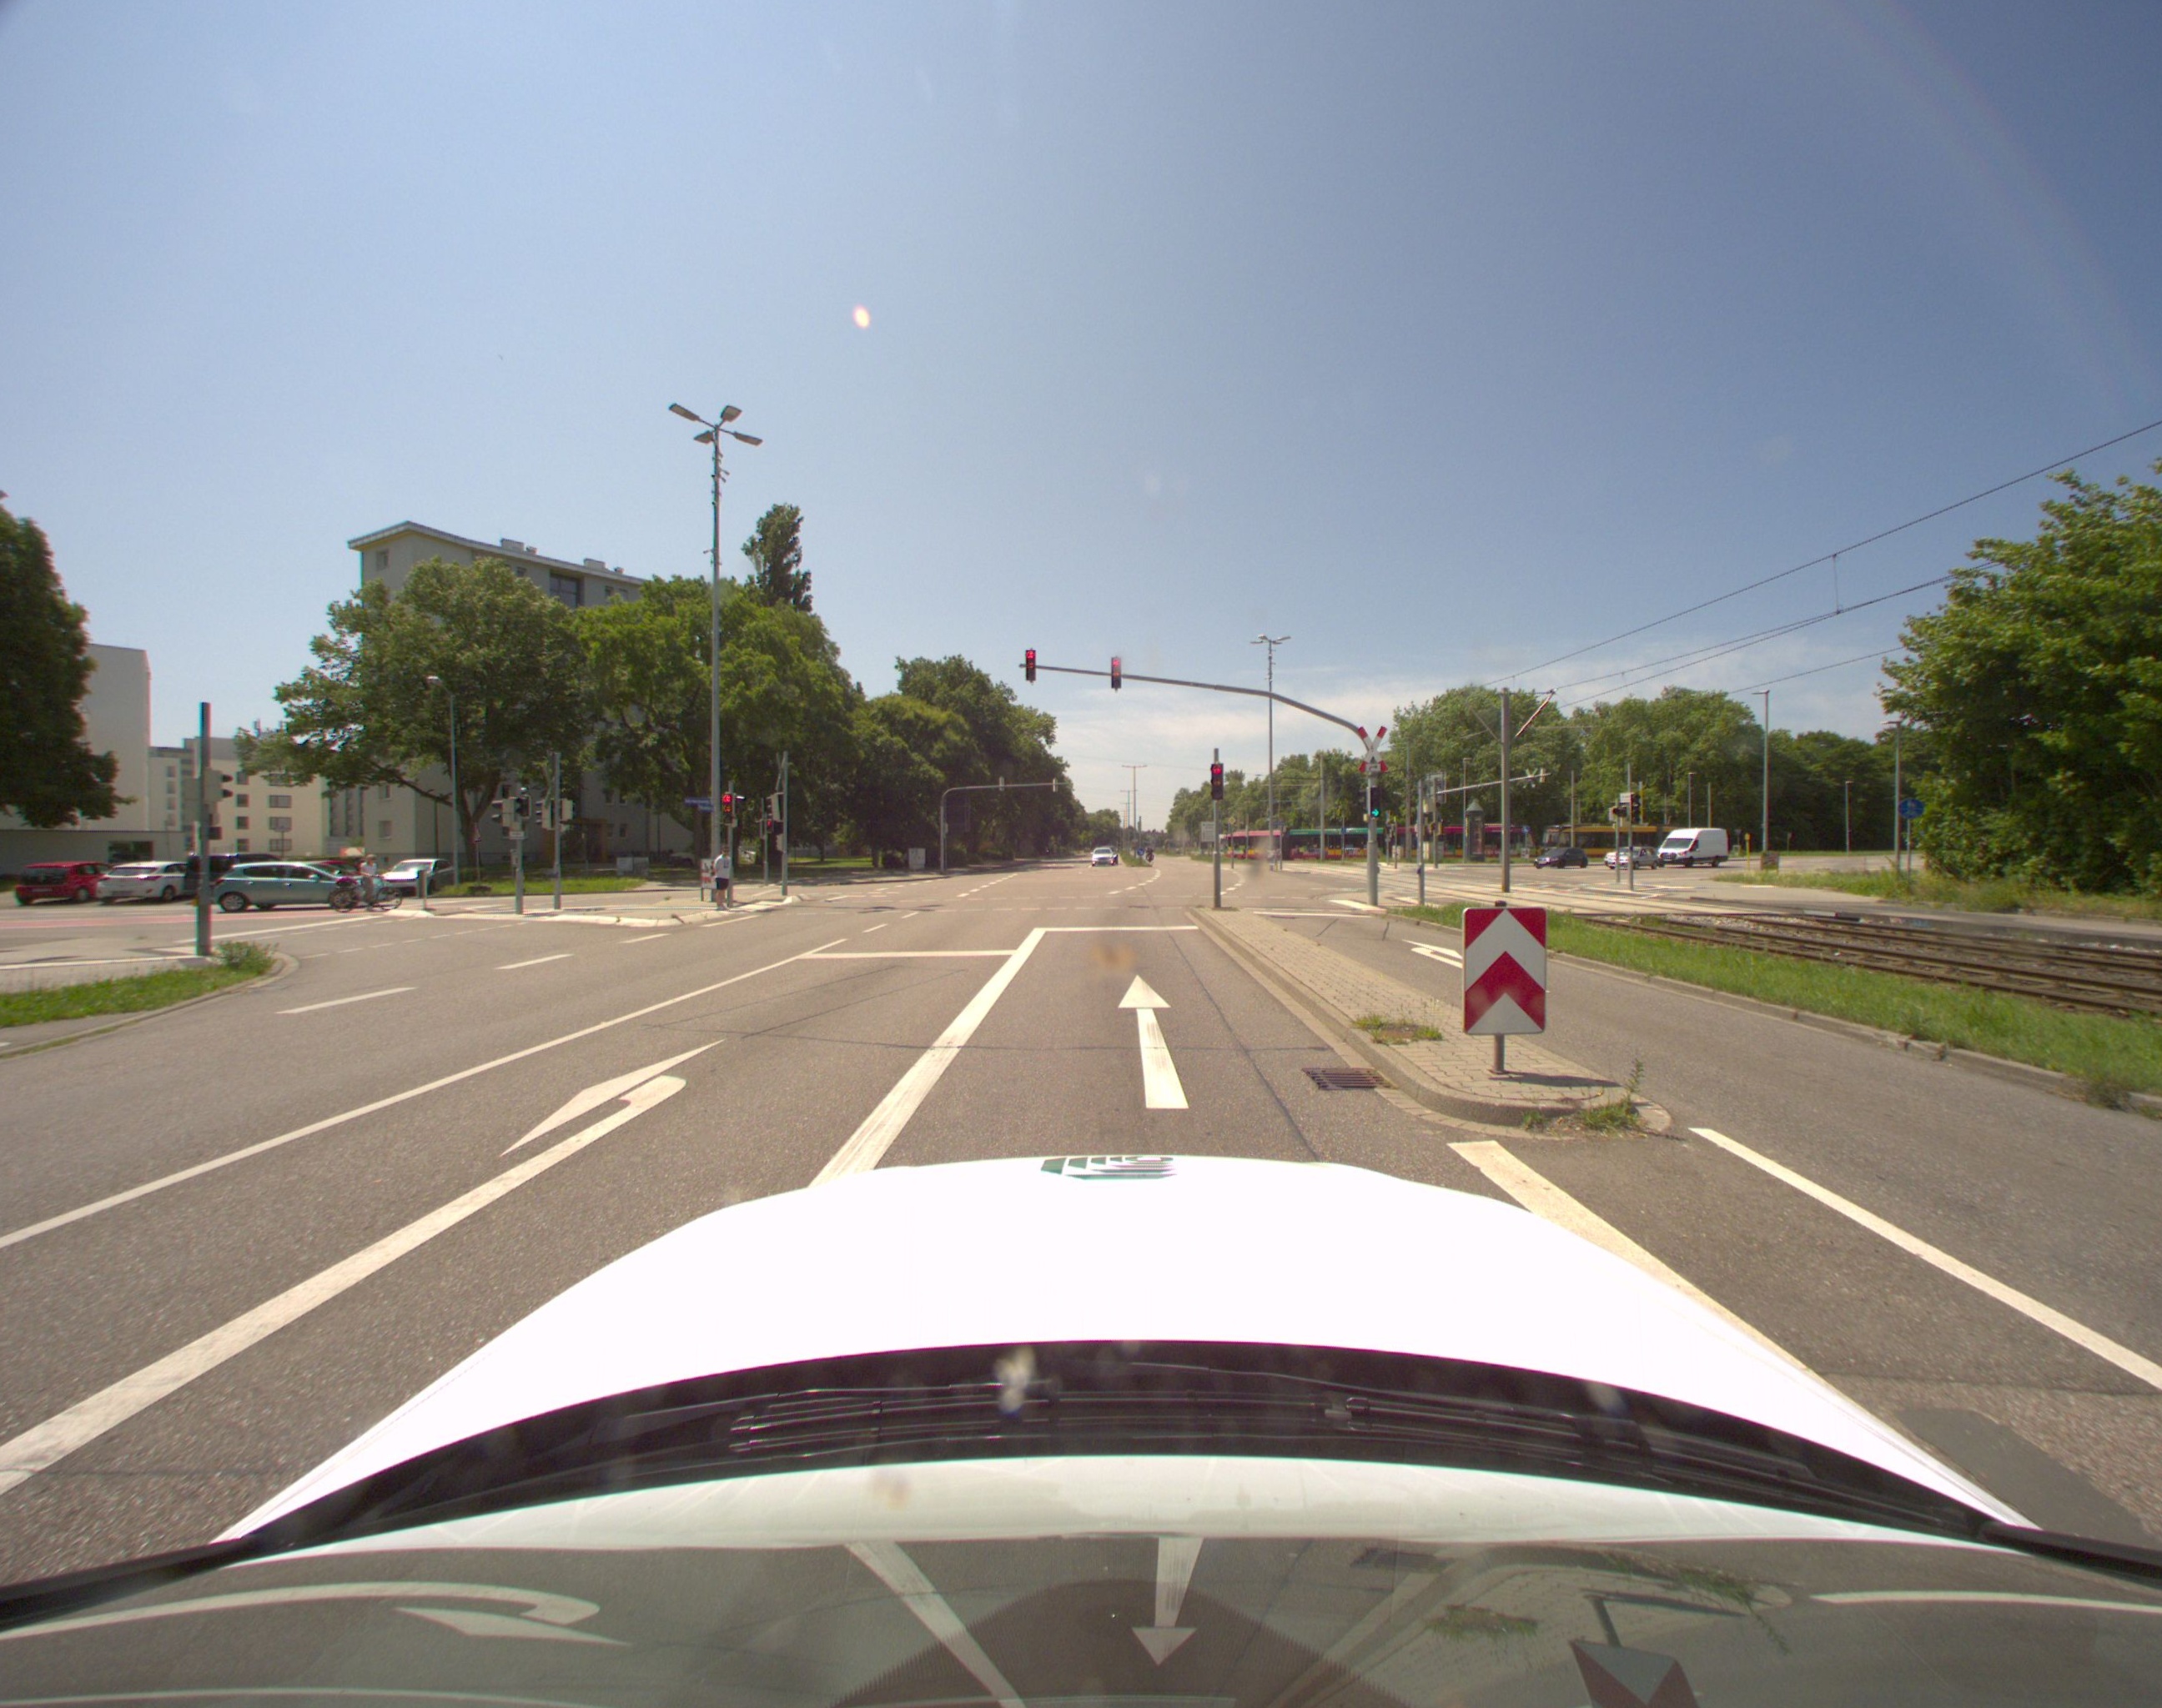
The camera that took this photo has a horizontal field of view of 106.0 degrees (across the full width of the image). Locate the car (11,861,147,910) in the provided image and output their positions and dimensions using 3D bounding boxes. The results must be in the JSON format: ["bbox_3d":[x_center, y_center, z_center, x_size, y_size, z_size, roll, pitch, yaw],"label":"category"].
[{"bbox_3d":[-38.376,1.151,31.342,1.856,1.668,3.964,-1,0,-27],"label":"car"}]

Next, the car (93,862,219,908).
[{"bbox_3d":[-35.721,1.144,31.595,1.712,1.592,3.968,0,0,-24],"label":"car"}]

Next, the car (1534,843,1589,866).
[{"bbox_3d":[32.529,0.030,55.136,3.518,1.463,1.625,-1,1,-29],"label":"car"}]

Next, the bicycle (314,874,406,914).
[{"bbox_3d":[-20.847,1.139,23.575,1.870,1.093,0.642,-1,0,-20],"label":"bicycle"}]

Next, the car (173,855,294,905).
[{"bbox_3d":[-33.503,0.971,32.336,1.710,1.800,3.974,0,0,-20],"label":"car"}]

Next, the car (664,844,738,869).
[{"bbox_3d":[-27.924,0.148,59.926,1.769,1.768,4.576,0,1,43],"label":"car"}]

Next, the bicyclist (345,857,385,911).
[{"bbox_3d":[-20.743,0.851,23.612,0.666,1.537,0.627,-1,0,-20],"label":"bicyclist"}]

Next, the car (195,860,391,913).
[{"bbox_3d":[-23.990,0.942,24.994,3.901,1.468,1.762,-1,0,-22],"label":"car"}]

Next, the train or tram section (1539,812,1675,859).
[{"bbox_3d":[50.811,-1.677,78.562,13.957,3.919,2.905,1,-3,-18],"label":"train or tram section"}]

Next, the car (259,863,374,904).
[{"bbox_3d":[-31.012,1.152,33.188,1.620,1.464,3.982,1,0,-13],"label":"car"}]

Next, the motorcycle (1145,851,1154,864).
[{"bbox_3d":[7.066,0.338,84.309,0.843,1.255,2.451,1,0,4],"label":"motorcycle"}]

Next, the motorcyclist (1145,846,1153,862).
[{"bbox_3d":[7.068,0.033,84.236,0.786,1.643,1.212,1,0,3],"label":"motorcyclist"}]

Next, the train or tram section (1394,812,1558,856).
[{"bbox_3d":[37.458,-1.863,78.020,13.885,3.919,2.936,0,-3,18],"label":"train or tram section"}]

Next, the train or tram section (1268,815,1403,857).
[{"bbox_3d":[26.062,-1.758,84.351,13.285,3.812,2.941,-1,-3,42],"label":"train or tram section"}]

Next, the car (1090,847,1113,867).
[{"bbox_3d":[1.694,0.220,66.169,1.777,1.628,3.868,0,1,3],"label":"car"}]

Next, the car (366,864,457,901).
[{"bbox_3d":[-28.179,1.146,34.411,1.629,1.380,3.975,0,0,-19],"label":"car"}]

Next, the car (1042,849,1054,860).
[{"bbox_3d":[-6.344,0.096,157.332,1.987,2.013,3.999,3,0,0],"label":"car"}]

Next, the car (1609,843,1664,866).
[{"bbox_3d":[36.539,0.034,53.523,3.820,1.463,1.624,-1,1,-32],"label":"car"}]

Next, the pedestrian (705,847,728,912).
[{"bbox_3d":[-9.559,0.667,21.360,0.381,1.687,0.486,0,0,-1],"label":"pedestrian"}]

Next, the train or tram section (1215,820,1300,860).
[{"bbox_3d":[19.994,-1.445,93.448,2.925,3.812,12.980,2,-2,-21],"label":"train or tram section"}]

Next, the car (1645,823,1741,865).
[{"bbox_3d":[43.255,-0.718,57.529,7.304,2.802,2.692,-1,1,-29],"label":"car"}]
